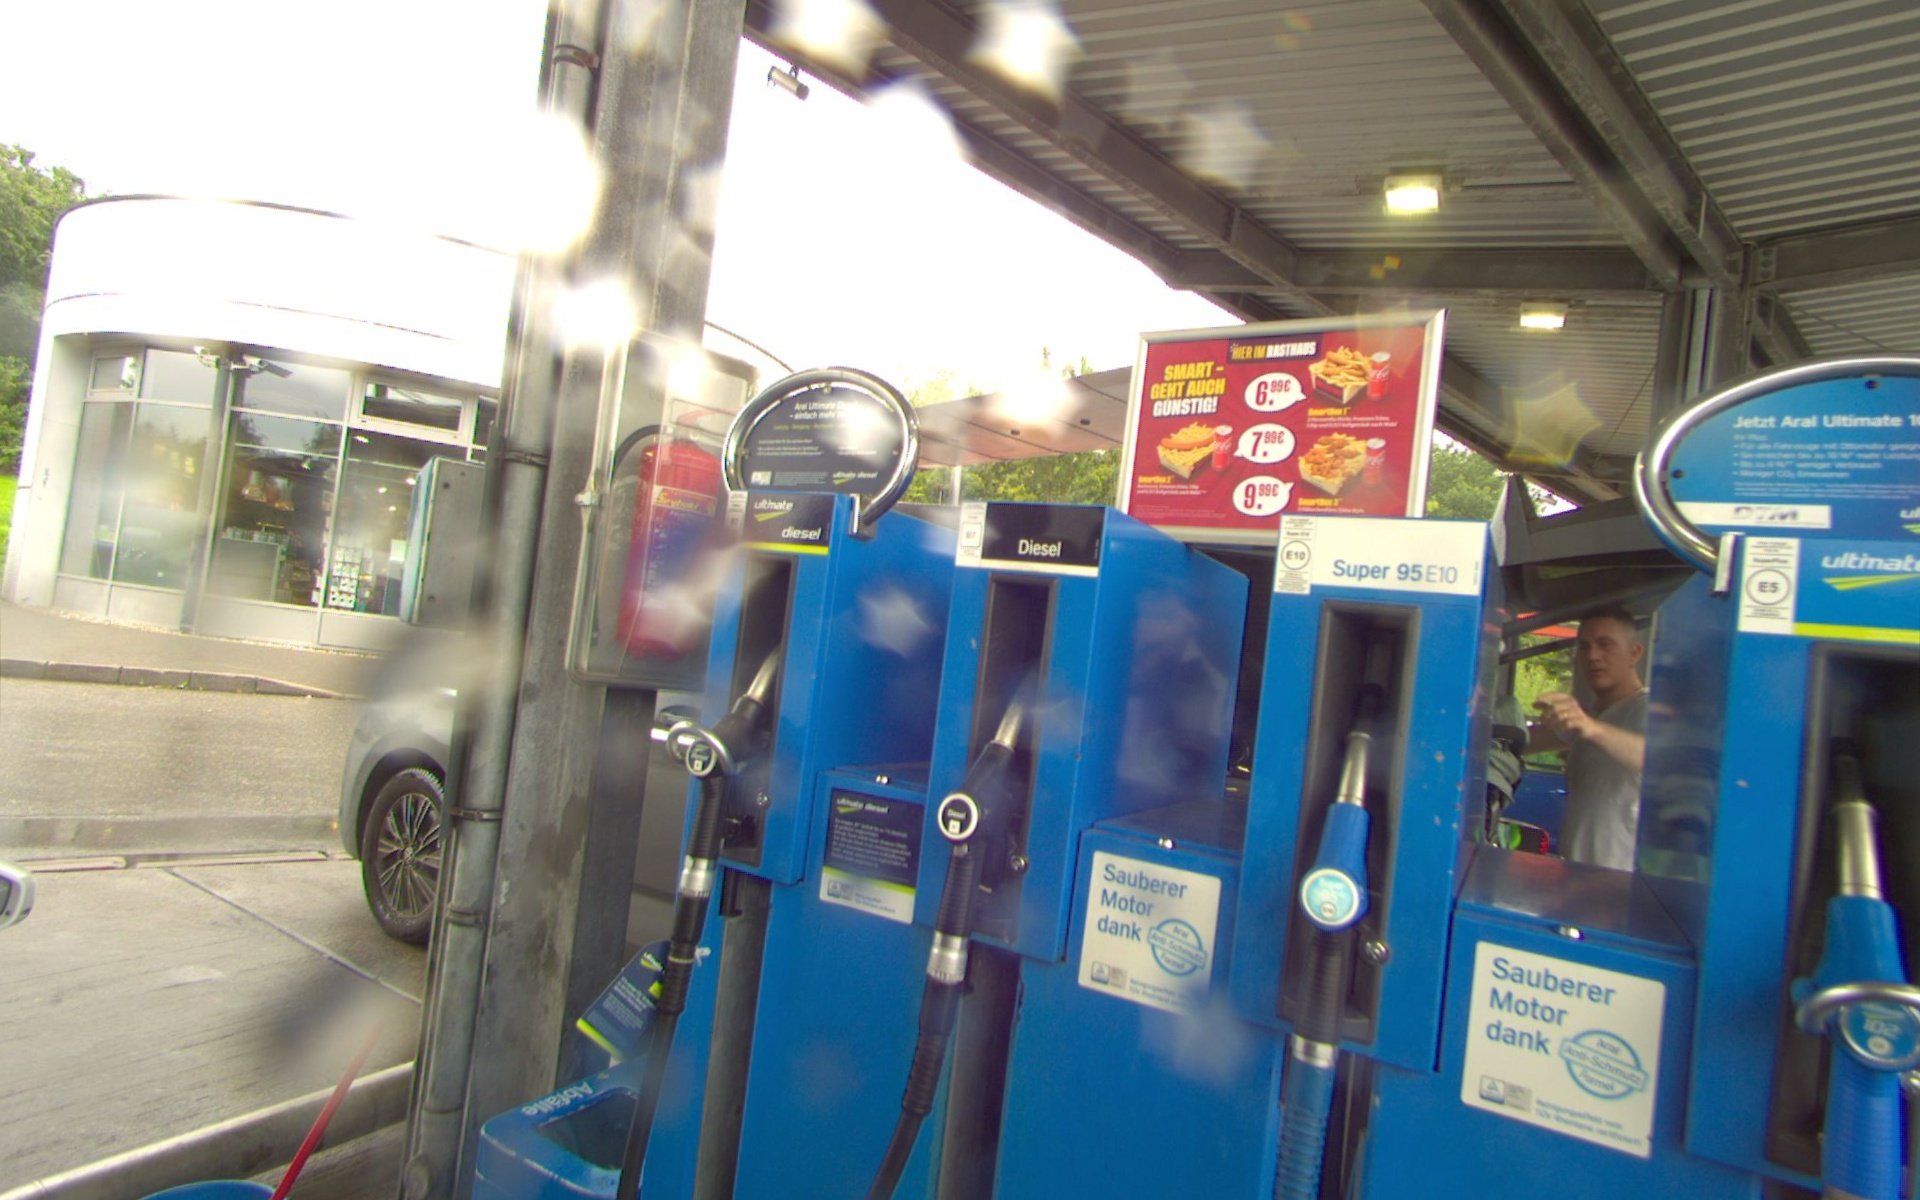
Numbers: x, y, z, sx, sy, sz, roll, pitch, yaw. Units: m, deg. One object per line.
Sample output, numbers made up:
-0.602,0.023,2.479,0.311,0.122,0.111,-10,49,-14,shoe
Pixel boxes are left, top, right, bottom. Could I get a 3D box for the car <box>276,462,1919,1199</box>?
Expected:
-0.137,0.650,3.678,5.055,1.819,1.865,6,-2,32,car
